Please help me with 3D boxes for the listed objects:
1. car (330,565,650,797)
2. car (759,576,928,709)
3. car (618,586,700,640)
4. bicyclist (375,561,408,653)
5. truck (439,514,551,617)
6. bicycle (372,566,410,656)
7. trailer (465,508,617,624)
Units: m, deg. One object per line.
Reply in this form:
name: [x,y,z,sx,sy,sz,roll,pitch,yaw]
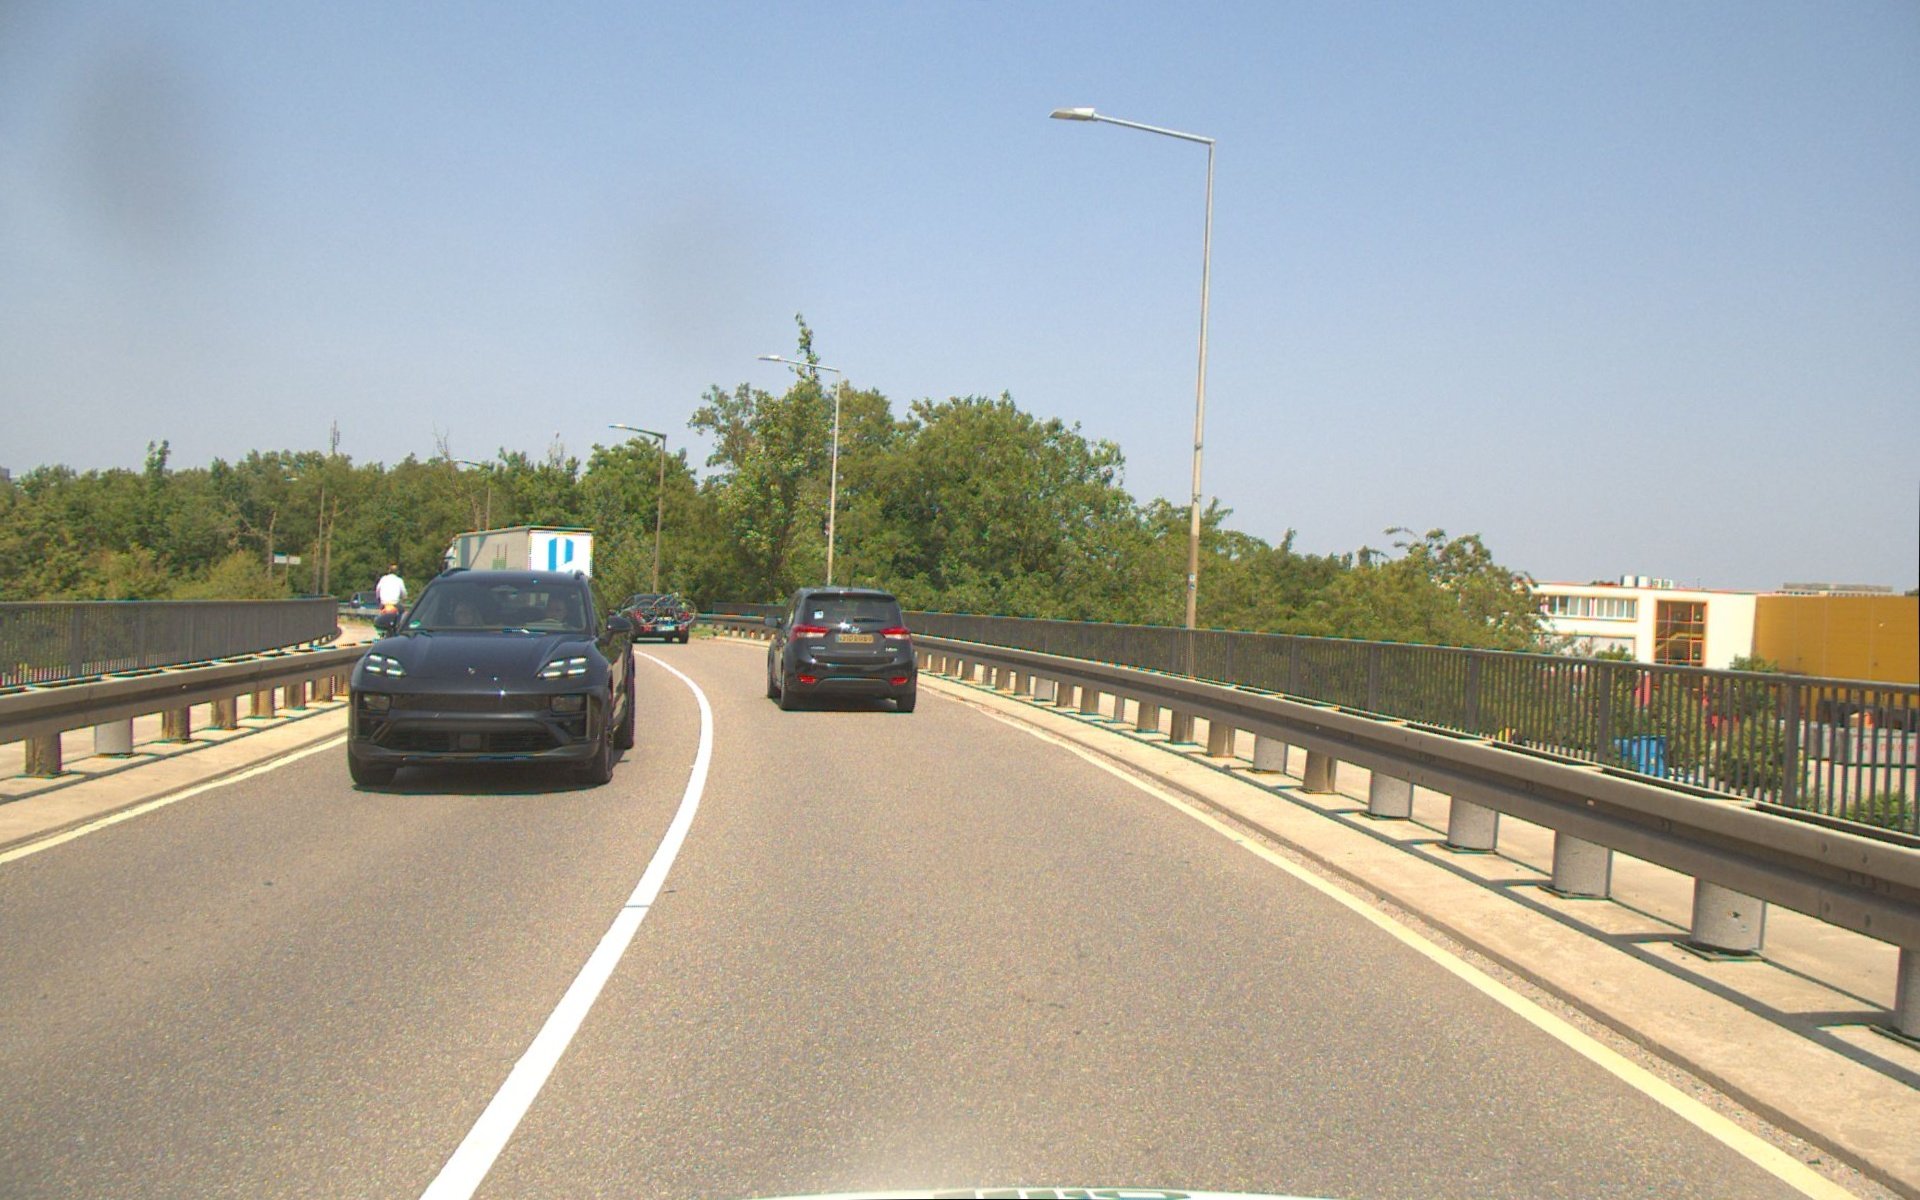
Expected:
car: [-3.735,0.541,13.944,1.856,1.624,4.481,1,1,-6]
car: [-1.668,0.507,22.412,1.886,1.601,3.883,1,1,-10]
car: [-8.824,0.365,48.353,1.979,1.454,3.760,1,1,-16]
bicyclist: [-12.057,0.145,35.097,0.614,1.919,0.708,1,1,-19]
truck: [-21.571,-1.574,76.442,3.534,4.518,6.452,1,1,-29]
bicycle: [-12.073,0.208,35.133,0.687,1.833,2.170,1,1,-18]
trailer: [-17.849,-1.427,69.738,3.530,4.460,11.333,1,1,-28]
